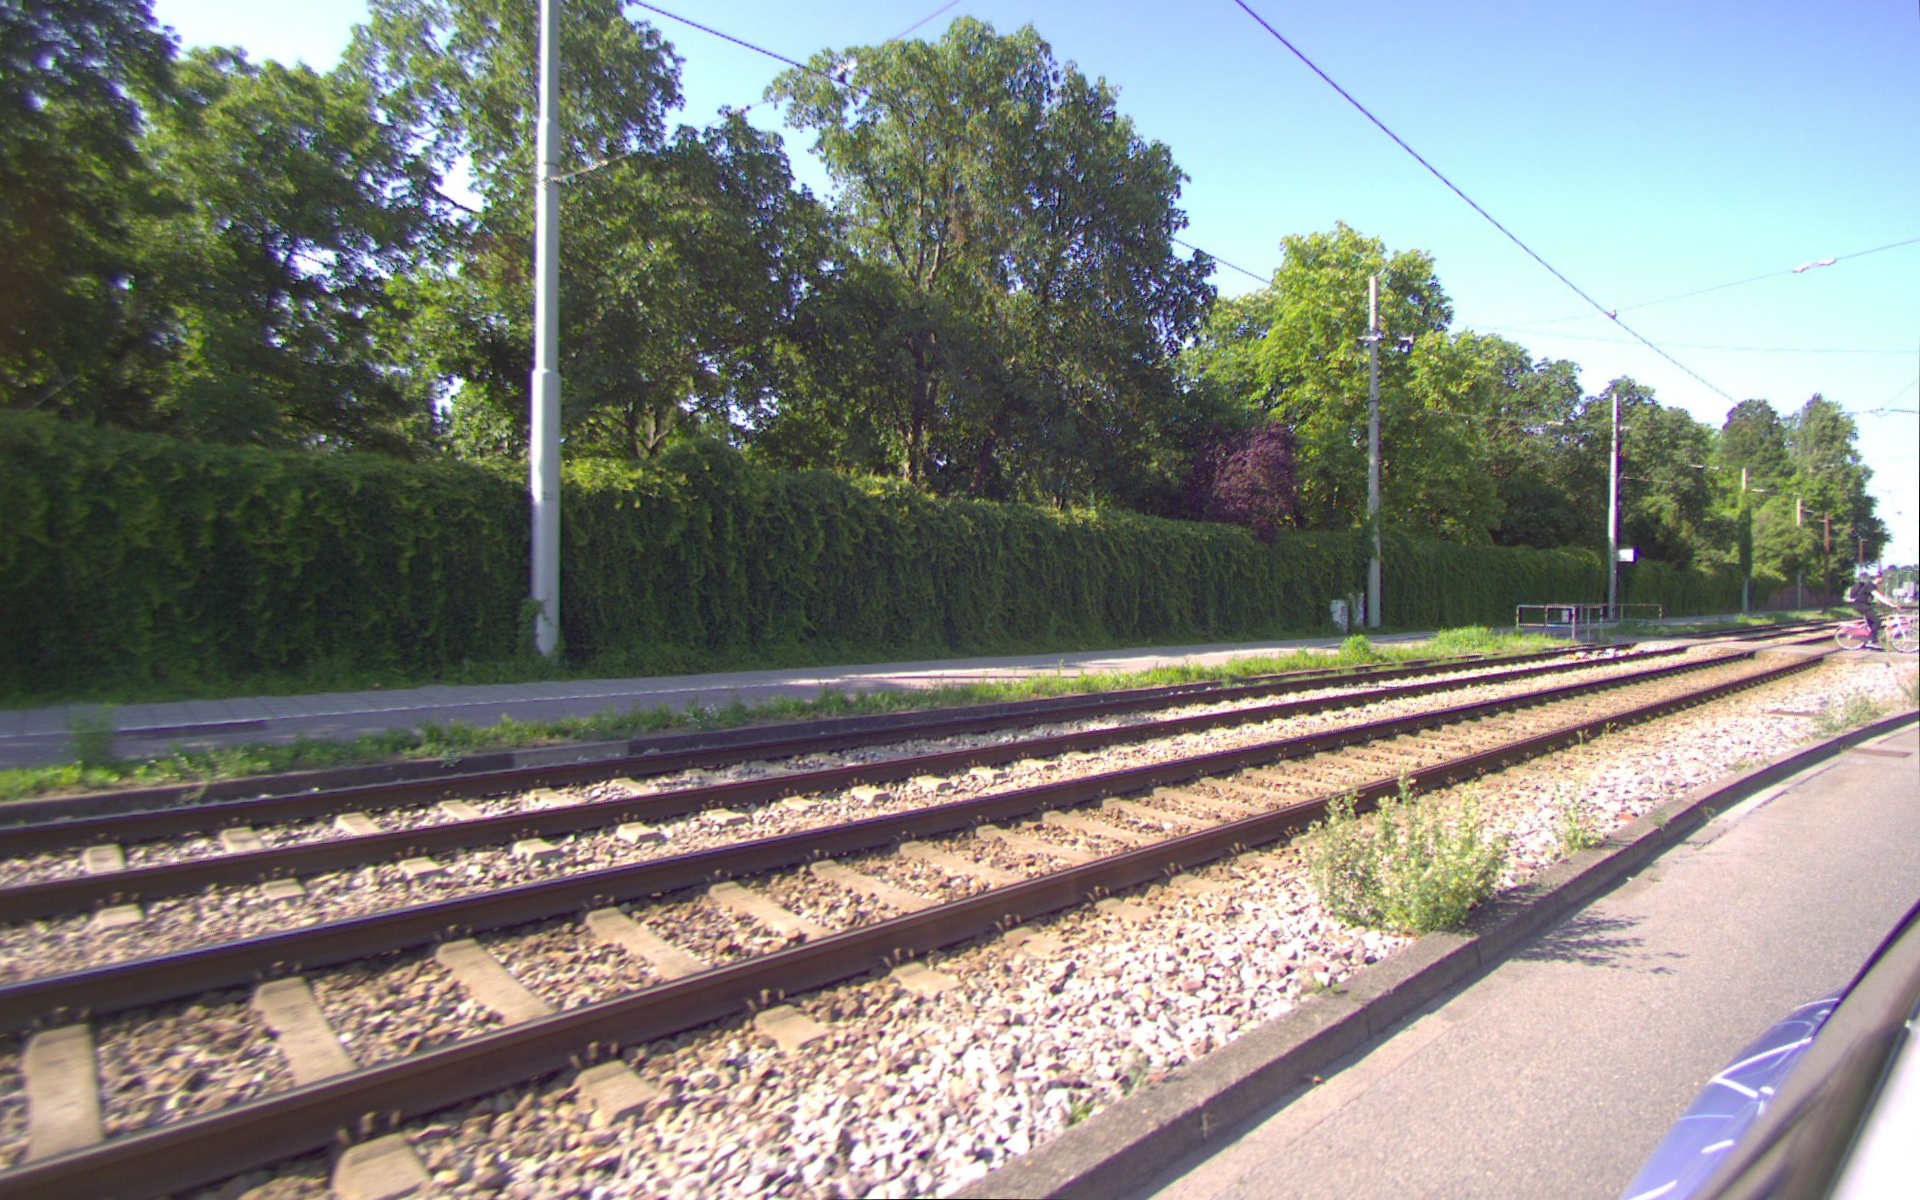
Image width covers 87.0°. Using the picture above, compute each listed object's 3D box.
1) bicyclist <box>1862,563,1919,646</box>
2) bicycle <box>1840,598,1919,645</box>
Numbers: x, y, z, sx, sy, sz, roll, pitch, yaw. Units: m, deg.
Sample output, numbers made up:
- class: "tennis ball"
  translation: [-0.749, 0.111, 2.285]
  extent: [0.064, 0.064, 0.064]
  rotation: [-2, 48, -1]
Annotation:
- class: "bicyclist"
  translation: [23.561, 0.097, 25.408]
  extent: [0.927, 2.018, 1.039]
  rotation: [0, 0, -18]
- class: "bicycle"
  translation: [23.529, 0.527, 25.432]
  extent: [0.927, 1.129, 1.931]
  rotation: [0, 1, -18]
